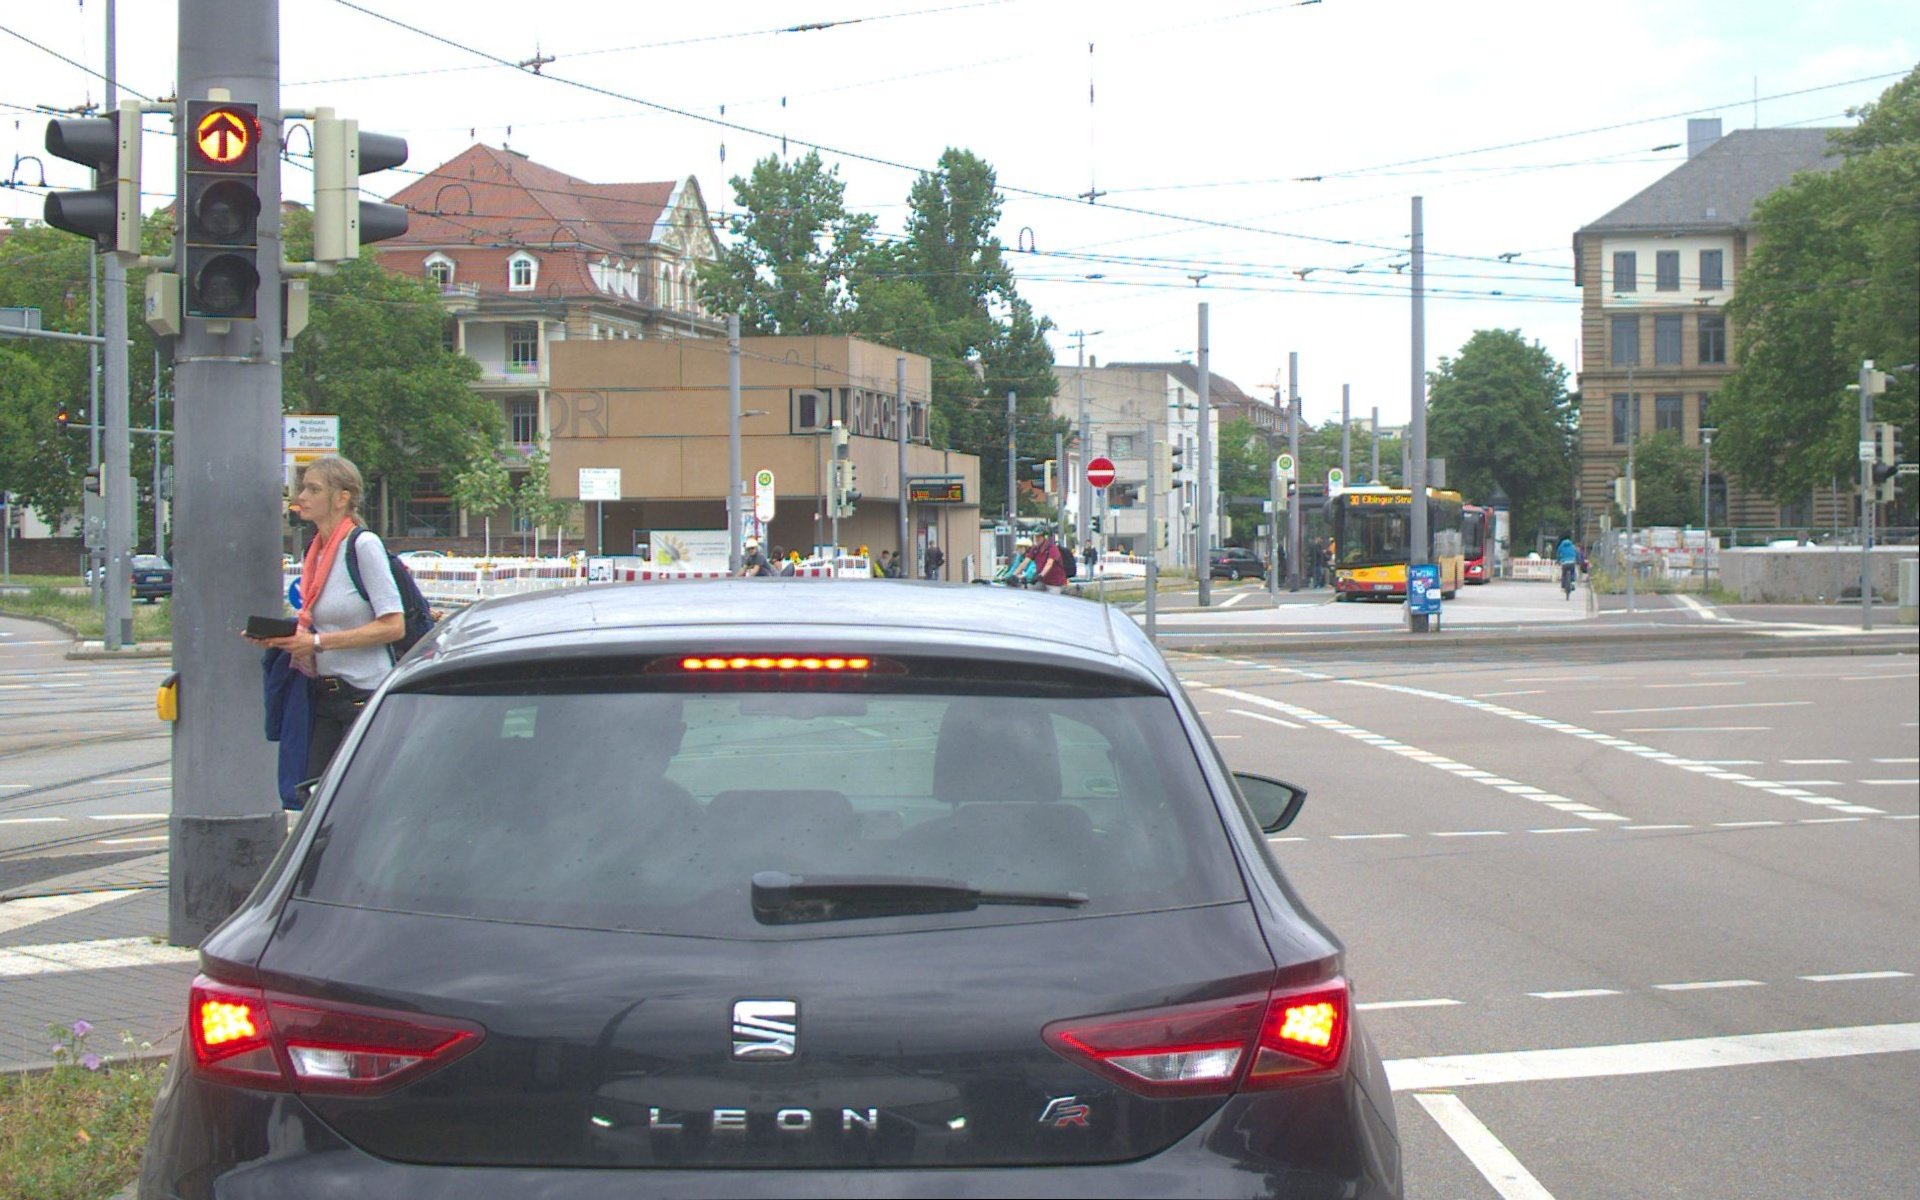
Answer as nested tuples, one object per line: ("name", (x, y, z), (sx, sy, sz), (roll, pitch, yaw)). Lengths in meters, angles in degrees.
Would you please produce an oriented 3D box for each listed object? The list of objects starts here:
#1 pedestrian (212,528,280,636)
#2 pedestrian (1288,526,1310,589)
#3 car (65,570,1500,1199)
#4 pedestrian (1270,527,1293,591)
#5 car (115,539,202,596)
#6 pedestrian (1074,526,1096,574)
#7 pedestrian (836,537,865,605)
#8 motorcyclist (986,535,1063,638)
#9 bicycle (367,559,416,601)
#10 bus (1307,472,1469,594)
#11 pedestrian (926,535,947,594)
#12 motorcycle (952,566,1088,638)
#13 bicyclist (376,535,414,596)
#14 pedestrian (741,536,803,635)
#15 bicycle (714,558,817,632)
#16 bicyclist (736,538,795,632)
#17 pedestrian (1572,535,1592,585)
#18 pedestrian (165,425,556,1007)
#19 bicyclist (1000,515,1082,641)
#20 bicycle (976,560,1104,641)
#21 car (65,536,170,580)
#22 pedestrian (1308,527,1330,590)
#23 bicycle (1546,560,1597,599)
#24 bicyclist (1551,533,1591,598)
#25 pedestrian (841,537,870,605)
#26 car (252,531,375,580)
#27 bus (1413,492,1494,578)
("pedestrian", (-12.856, -0.330, 61.893), (1.027, 1.927, 0.701), (-1, 1, -25))
("pedestrian", (10.395, -1.310, 105.507), (0.621, 1.911, 0.710), (0, 1, 3))
("car", (-0.347, 0.688, 5.998), (1.704, 1.444, 3.813), (0, 1, -4))
("pedestrian", (9.727, -1.248, 104.035), (0.621, 1.911, 0.698), (0, 1, 9))
("car", (-24.446, -0.977, 104.765), (1.993, 1.678, 4.001), (0, 0, -22))
("pedestrian", (5.056, -2.012, 139.020), (0.622, 1.911, 0.709), (-1, 0, 25))
("pedestrian", (-3.077, -0.817, 96.579), (0.708, 1.911, 0.623), (0, 1, 7))
("motorcyclist", (1.038, -0.219, 55.547), (0.977, 1.644, 0.750), (-1, 0, -33))
("bicycle", (-16.101, -0.578, 97.371), (0.891, 1.174, 2.302), (0, 1, -22))
("bus", (11.760, -1.811, 93.456), (2.962, 3.112, 11.531), (0, 1, 14))
("pedestrian", (-0.768, -1.157, 112.621), (0.621, 1.911, 0.710), (0, 1, 3))
("motorcycle", (0.977, 0.024, 55.493), (2.135, 1.135, 0.744), (-1, 1, -33))
("bicyclist", (-15.921, -0.976, 96.877), (0.882, 1.726, 0.894), (0, 1, -22))
("pedestrian", (-3.716, -0.293, 67.897), (0.700, 1.927, 1.028), (0, 1, 38))
("bicycle", (-3.495, -0.097, 61.713), (1.730, 1.317, 0.645), (-1, 1, -28))
("bicyclist", (-3.492, -0.273, 61.712), (0.854, 1.667, 0.654), (-1, 1, -27))
("pedestrian", (25.056, -1.621, 138.464), (0.662, 2.007, 0.692), (0, 1, 0))
("pedestrian", (-2.063, 0.375, 11.869), (1.101, 1.900, 0.735), (0, 0, -43))
("bicyclist", (1.229, -0.338, 52.022), (0.777, 1.891, 0.994), (0, 1, 44))
("bicycle", (1.223, -0.001, 52.037), (0.777, 1.180, 2.027), (1, 1, 44))
("car", (-34.624, -1.716, 141.261), (3.986, 1.766, 1.717), (-1, 1, -20))
("pedestrian", (10.889, -1.259, 104.366), (0.621, 1.911, 0.698), (0, 1, 9))
("bicycle", (17.474, -0.592, 98.267), (0.865, 1.101, 2.302), (0, 1, -5))
("bicyclist", (17.468, -0.986, 98.318), (0.871, 1.845, 1.048), (0, 1, -6))
("pedestrian", (-2.954, -0.816, 97.375), (0.708, 1.911, 0.623), (0, 1, 7))
("car", (-23.109, -1.585, 123.032), (3.987, 1.678, 2.000), (-1, 0, 1))
("bus", (19.665, -2.574, 136.666), (2.655, 3.272, 10.990), (0, 1, 11))
